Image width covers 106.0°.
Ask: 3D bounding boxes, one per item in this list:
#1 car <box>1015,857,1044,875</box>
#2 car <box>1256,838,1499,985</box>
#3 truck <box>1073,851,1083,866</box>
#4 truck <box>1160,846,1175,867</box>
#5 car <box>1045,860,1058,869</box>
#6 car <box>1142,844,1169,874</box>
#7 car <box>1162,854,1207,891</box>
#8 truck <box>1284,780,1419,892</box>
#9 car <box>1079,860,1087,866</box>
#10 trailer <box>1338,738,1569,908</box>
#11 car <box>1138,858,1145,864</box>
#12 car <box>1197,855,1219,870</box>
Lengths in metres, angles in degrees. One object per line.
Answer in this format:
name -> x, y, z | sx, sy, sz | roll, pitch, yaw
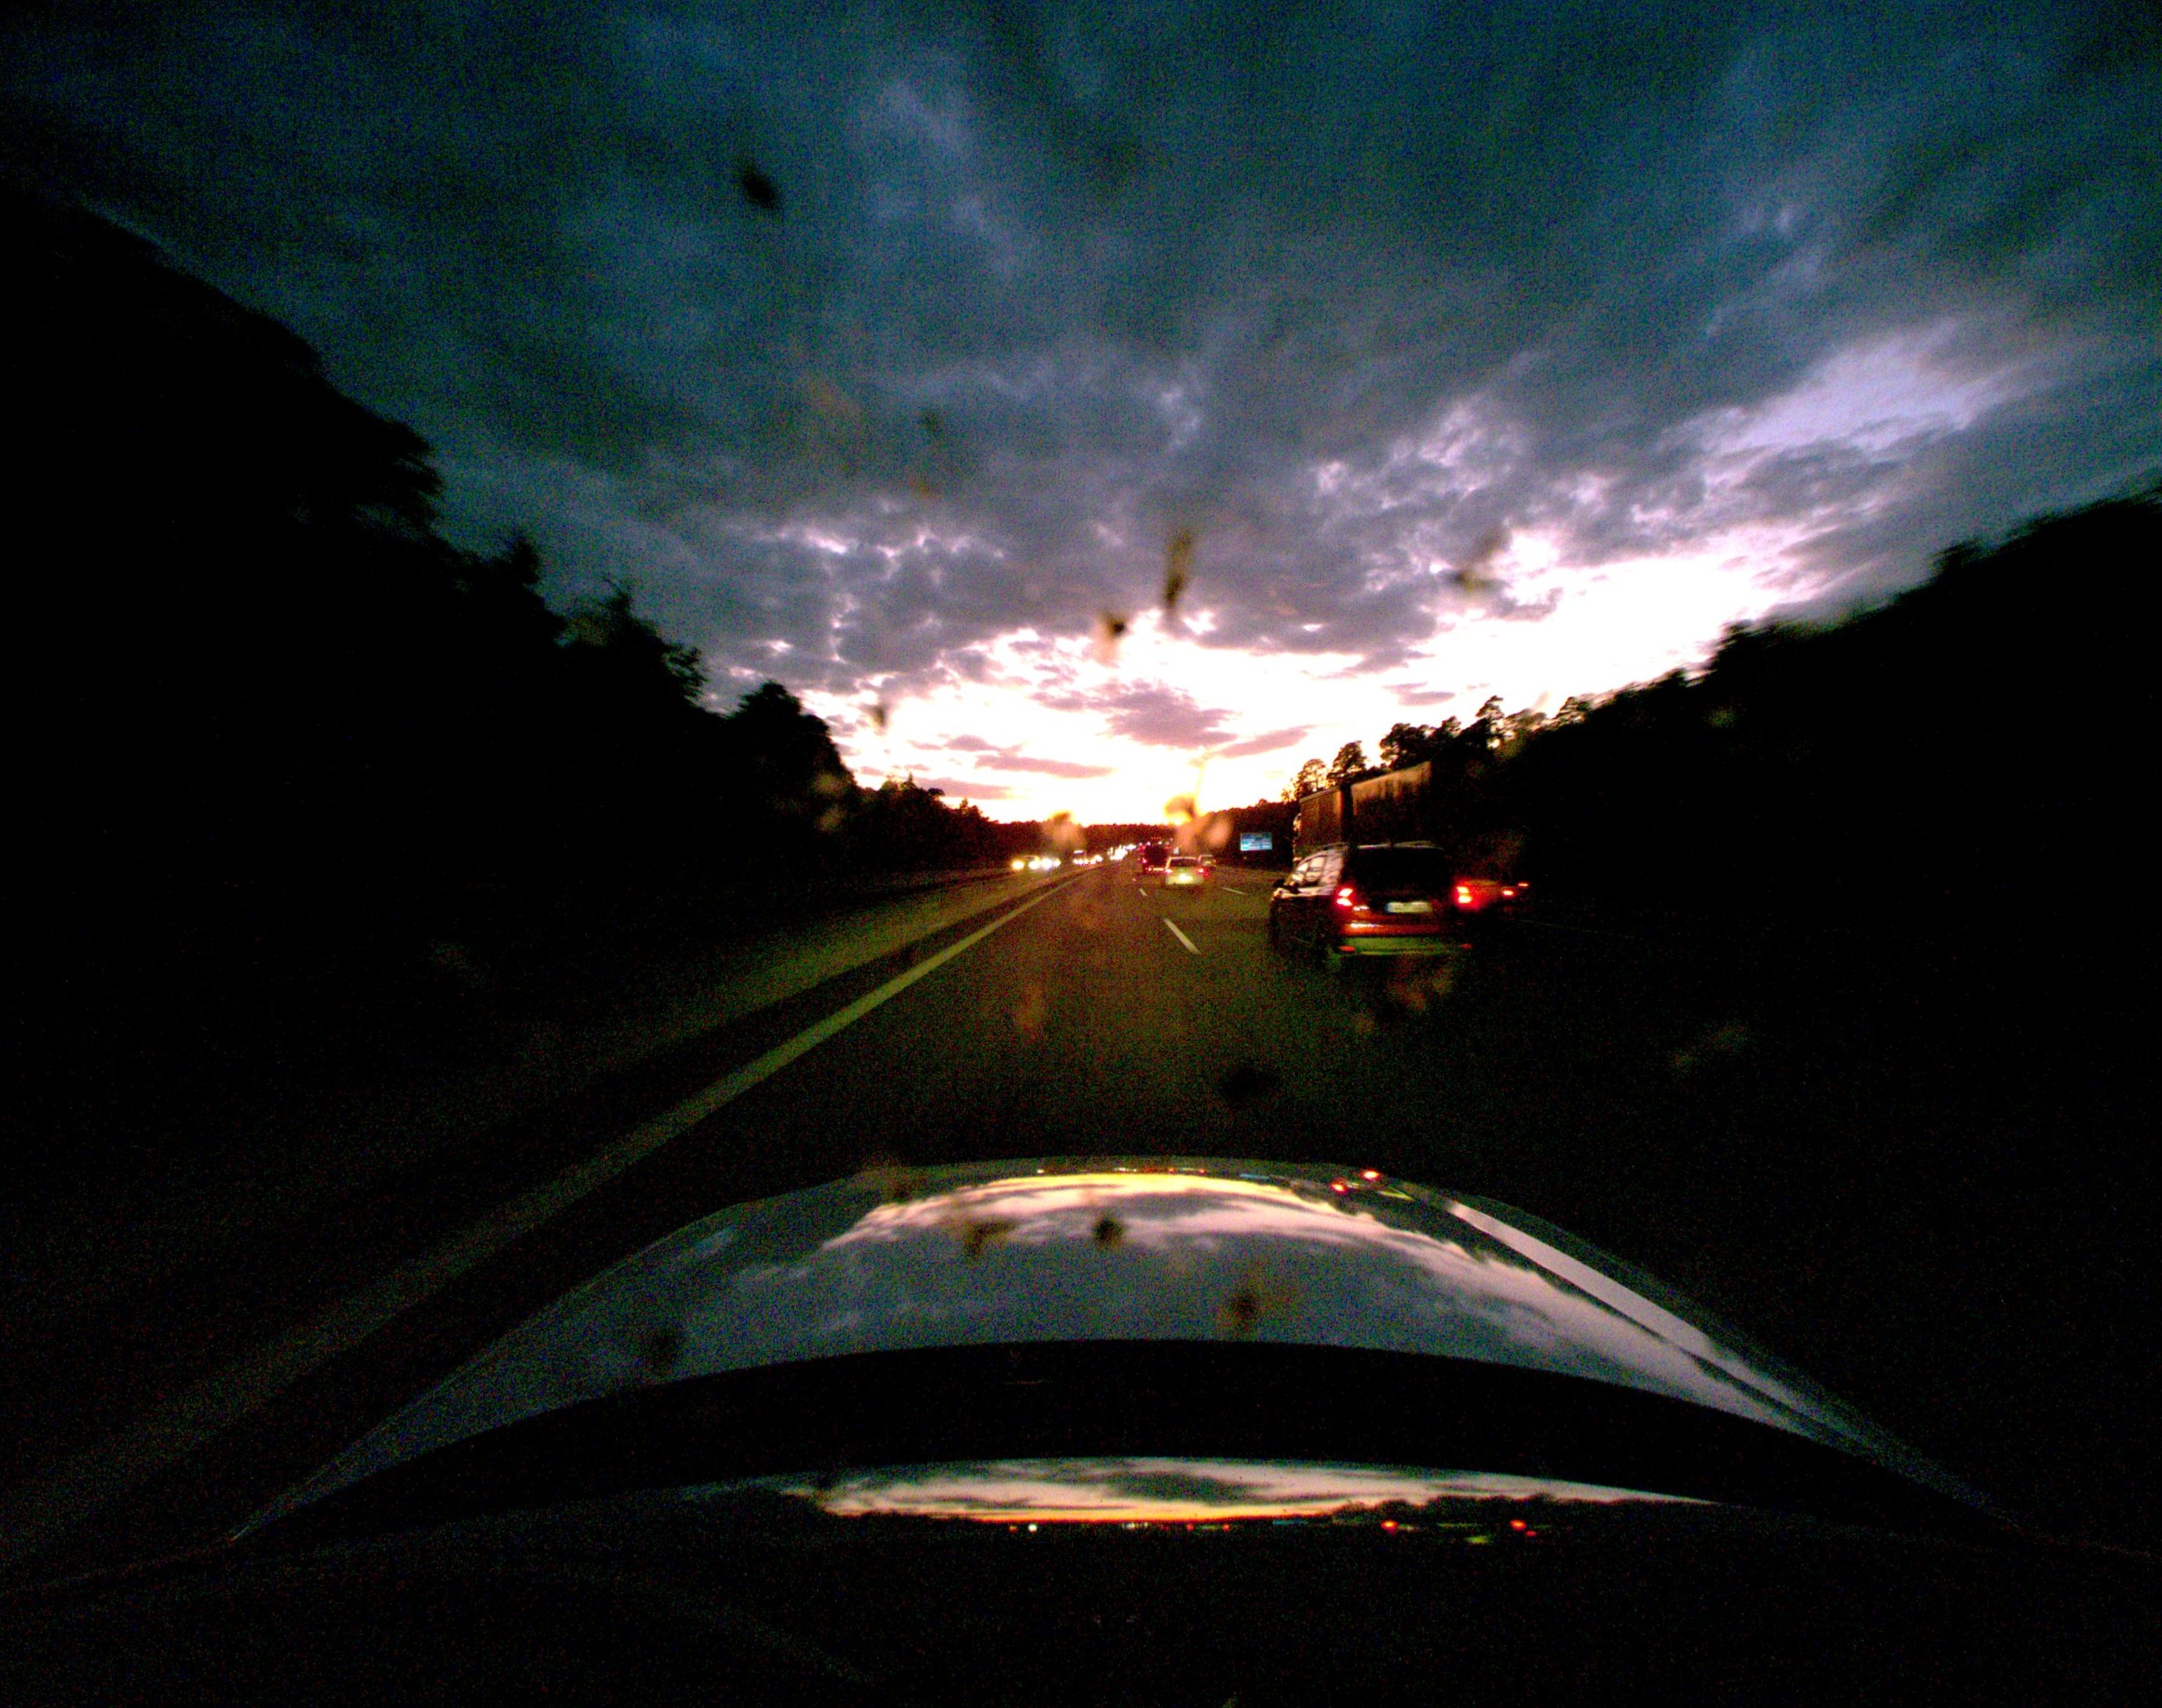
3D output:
car -> -4.798, 1.098, 76.511 | 1.984, 1.638, 5.118 | 0, 0, 5
car -> 3.934, 0.643, 11.849 | 1.895, 1.643, 5.056 | -1, 0, 3
truck -> -0.853, 1.294, 240.328 | 2.639, 4.132, 6.529 | -1, -1, 3
truck -> 25.073, 0.778, 236.507 | 4.130, 5.856, 14.314 | -1, -1, 5
car -> -4.654, 1.650, 130.210 | 1.748, 1.429, 5.364 | -1, 0, 2
car -> 6.407, 0.406, 69.738 | 2.154, 2.419, 5.574 | -1, -1, 6
car -> 4.601, 0.791, 36.374 | 1.849, 1.442, 3.728 | -1, 1, 7
truck -> 11.407, -0.614, 35.705 | 2.872, 4.100, 10.841 | -1, -1, 4
car -> 0.585, 2.219, 203.701 | 1.769, 1.401, 4.943 | -1, -1, 3
trailer -> 10.729, -0.712, 25.077 | 2.894, 4.100, 10.367 | -1, -1, 4
car -> 16.791, 1.832, 226.491 | 1.827, 1.570, 4.007 | -1, -1, 6
car -> 13.059, 0.884, 83.854 | 1.997, 1.538, 4.007 | -1, -1, 6
